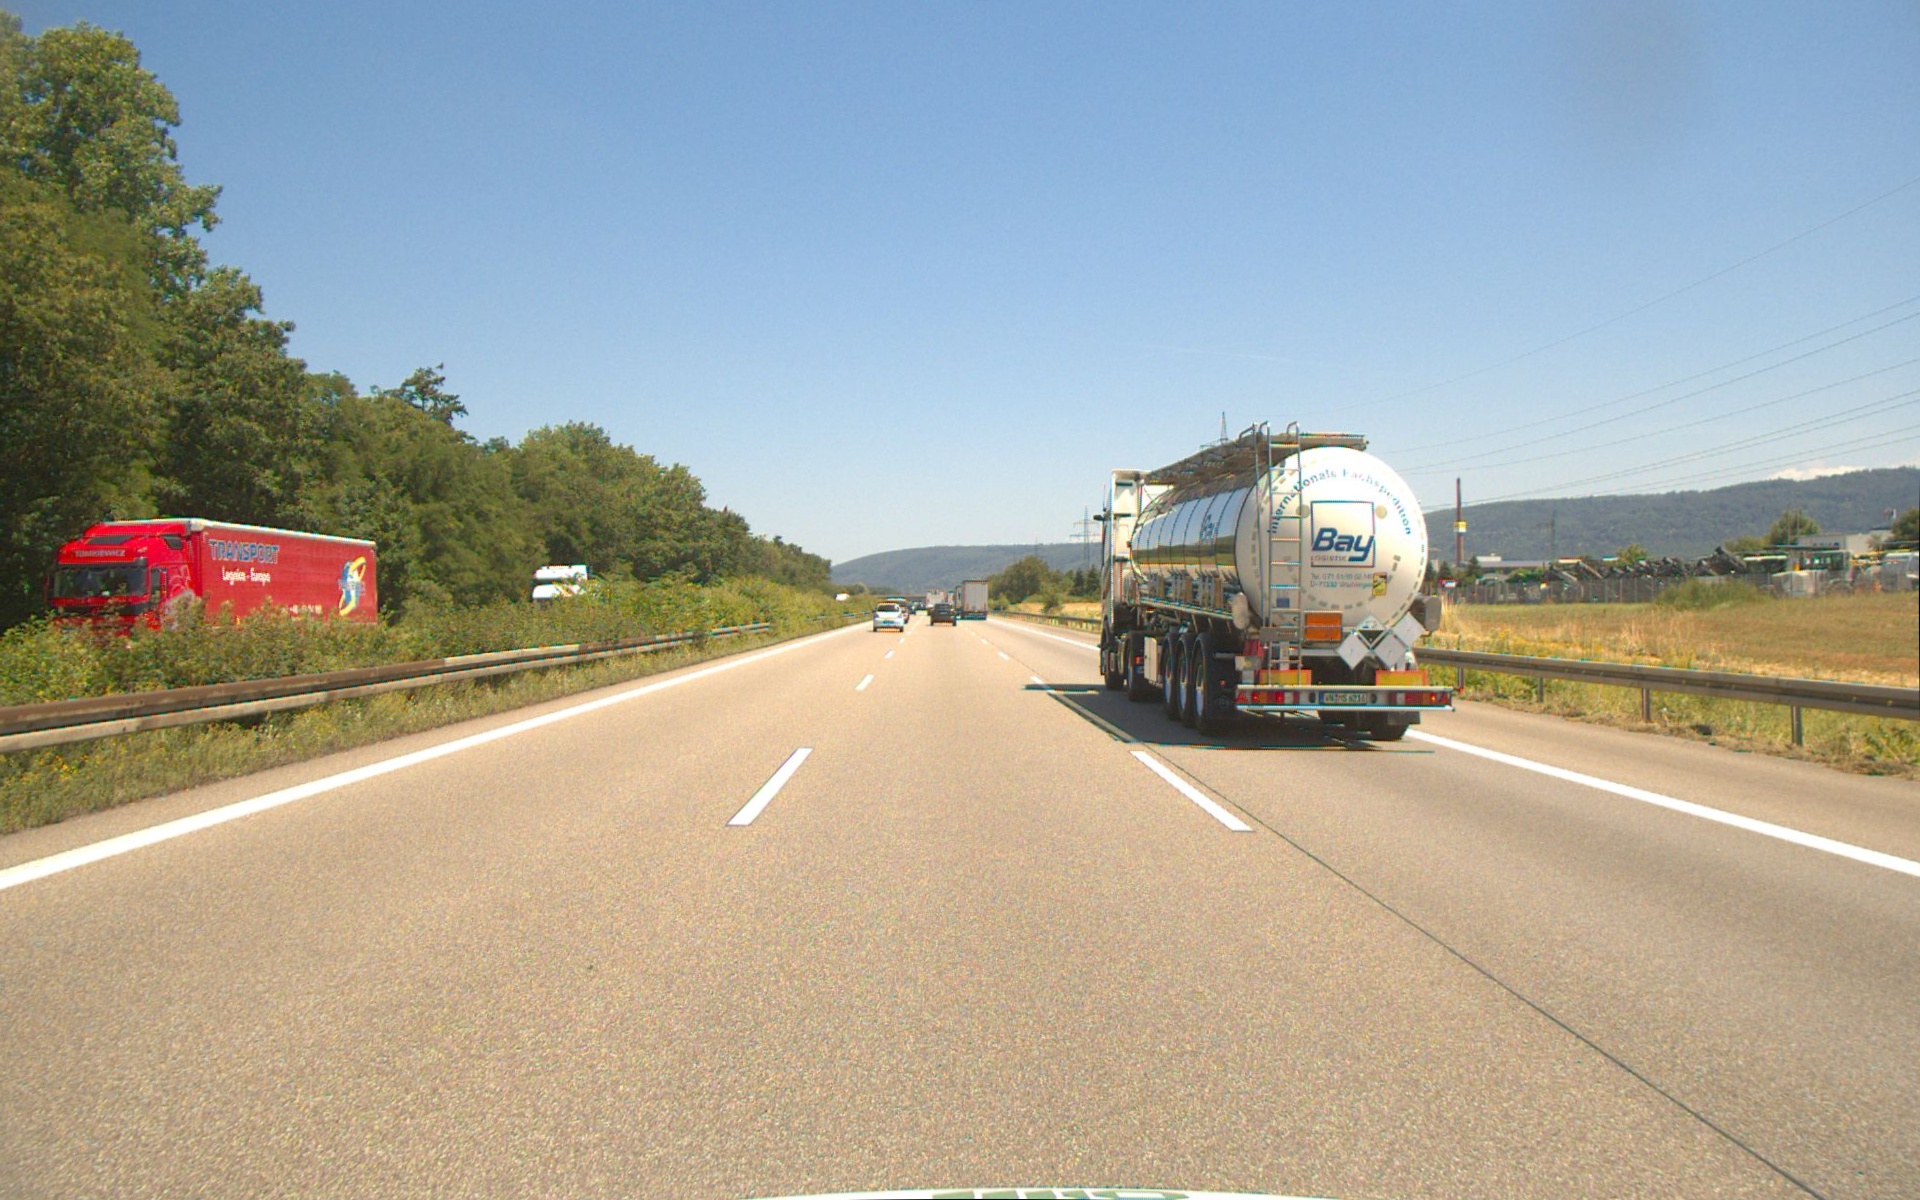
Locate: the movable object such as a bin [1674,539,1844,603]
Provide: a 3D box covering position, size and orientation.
[{"bbox_3d":[52.305,-1.876,108.490,9.513,3.754,2.978,-2,0,4],"label":"movable object such as a bin"}]

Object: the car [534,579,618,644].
[{"bbox_3d":[-16.470,0.442,71.334,2.256,2.443,6.518,1,2,-2],"label":"car"}]

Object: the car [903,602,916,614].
[{"bbox_3d":[-7.067,1.134,231.494,1.814,1.661,3.999,1,0,-1],"label":"car"}]

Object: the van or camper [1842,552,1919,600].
[{"bbox_3d":[54.198,-1.385,91.476,9.120,2.565,3.161,-1,0,0],"label":"van or camper"}]

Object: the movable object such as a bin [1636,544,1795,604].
[{"bbox_3d":[52.059,-1.787,114.099,9.516,3.754,2.977,-2,0,1],"label":"movable object such as a bin"}]

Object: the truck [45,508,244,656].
[{"bbox_3d":[-20.578,-0.433,42.054,2.545,3.482,5.115,1,0,-2],"label":"truck"}]

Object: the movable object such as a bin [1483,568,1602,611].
[{"bbox_3d":[53.395,-0.940,151.790,10.048,3.475,2.520,-2,0,25],"label":"movable object such as a bin"}]

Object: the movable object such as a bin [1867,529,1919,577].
[{"bbox_3d":[67.966,-3.333,114.515,8.506,3.204,2.923,-2,-1,3],"label":"movable object such as a bin"}]

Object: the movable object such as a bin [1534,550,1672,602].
[{"bbox_3d":[51.488,-1.906,132.486,10.046,3.754,2.393,-2,0,-2],"label":"movable object such as a bin"}]

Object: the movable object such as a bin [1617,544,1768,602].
[{"bbox_3d":[52.101,-1.912,117.798,9.516,3.754,2.633,-2,0,1],"label":"movable object such as a bin"}]

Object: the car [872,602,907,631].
[{"bbox_3d":[-3.819,0.869,90.480,1.770,1.494,3.999,1,0,-1],"label":"car"}]

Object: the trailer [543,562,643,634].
[{"bbox_3d":[-20.873,-0.108,95.026,2.537,3.770,13.688,1,0,0],"label":"trailer"}]

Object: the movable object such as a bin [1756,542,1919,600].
[{"bbox_3d":[52.171,-1.673,97.808,8.544,3.059,3.216,-2,0,5],"label":"movable object such as a bin"}]

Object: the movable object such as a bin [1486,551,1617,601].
[{"bbox_3d":[49.860,-2.000,139.504,10.046,3.754,2.664,-2,0,-2],"label":"movable object such as a bin"}]

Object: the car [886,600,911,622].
[{"bbox_3d":[-4.838,0.827,130.455,1.814,1.661,3.999,1,0,-1],"label":"car"}]

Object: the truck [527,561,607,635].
[{"bbox_3d":[-20.914,-0.100,88.346,2.537,3.770,6.827,1,0,0],"label":"truck"}]

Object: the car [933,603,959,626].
[{"bbox_3d":[-1.003,1.019,118.745,1.846,1.542,3.999,1,0,-1],"label":"car"}]

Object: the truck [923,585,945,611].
[{"bbox_3d":[-3.741,-0.324,236.583,3.034,3.535,11.539,1,0,-1],"label":"truck"}]

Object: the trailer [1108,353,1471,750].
[{"bbox_3d":[3.991,-0.523,23.073,2.528,4.145,11.100,1,0,-1],"label":"trailer"}]

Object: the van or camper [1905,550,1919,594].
[{"bbox_3d":[51.842,-1.492,84.134,5.991,2.259,2.602,-1,0,0],"label":"van or camper"}]

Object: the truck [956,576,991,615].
[{"bbox_3d":[1.355,-0.437,174.086,3.199,3.925,11.628,1,0,-1],"label":"truck"}]

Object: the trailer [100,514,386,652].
[{"bbox_3d":[-20.735,-0.448,49.226,2.534,3.477,14.152,1,0,-1],"label":"trailer"}]

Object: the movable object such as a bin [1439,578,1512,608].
[{"bbox_3d":[51.526,-0.723,165.459,6.734,2.735,3.180,-2,0,14],"label":"movable object such as a bin"}]

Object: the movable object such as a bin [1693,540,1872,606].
[{"bbox_3d":[52.063,-1.689,104.902,9.512,3.754,3.420,-2,0,4],"label":"movable object such as a bin"}]

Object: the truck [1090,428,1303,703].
[{"bbox_3d":[3.865,-0.531,28.450,2.521,4.143,6.391,1,0,-1],"label":"truck"}]

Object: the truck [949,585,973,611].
[{"bbox_3d":[0.154,-0.319,232.044,3.034,3.535,11.539,1,0,-1],"label":"truck"}]

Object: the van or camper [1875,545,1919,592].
[{"bbox_3d":[51.855,-1.701,86.954,5.991,2.444,2.602,-1,0,0],"label":"van or camper"}]

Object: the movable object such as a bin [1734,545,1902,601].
[{"bbox_3d":[52.406,-1.598,101.216,8.544,3.059,2.957,-2,0,5],"label":"movable object such as a bin"}]
